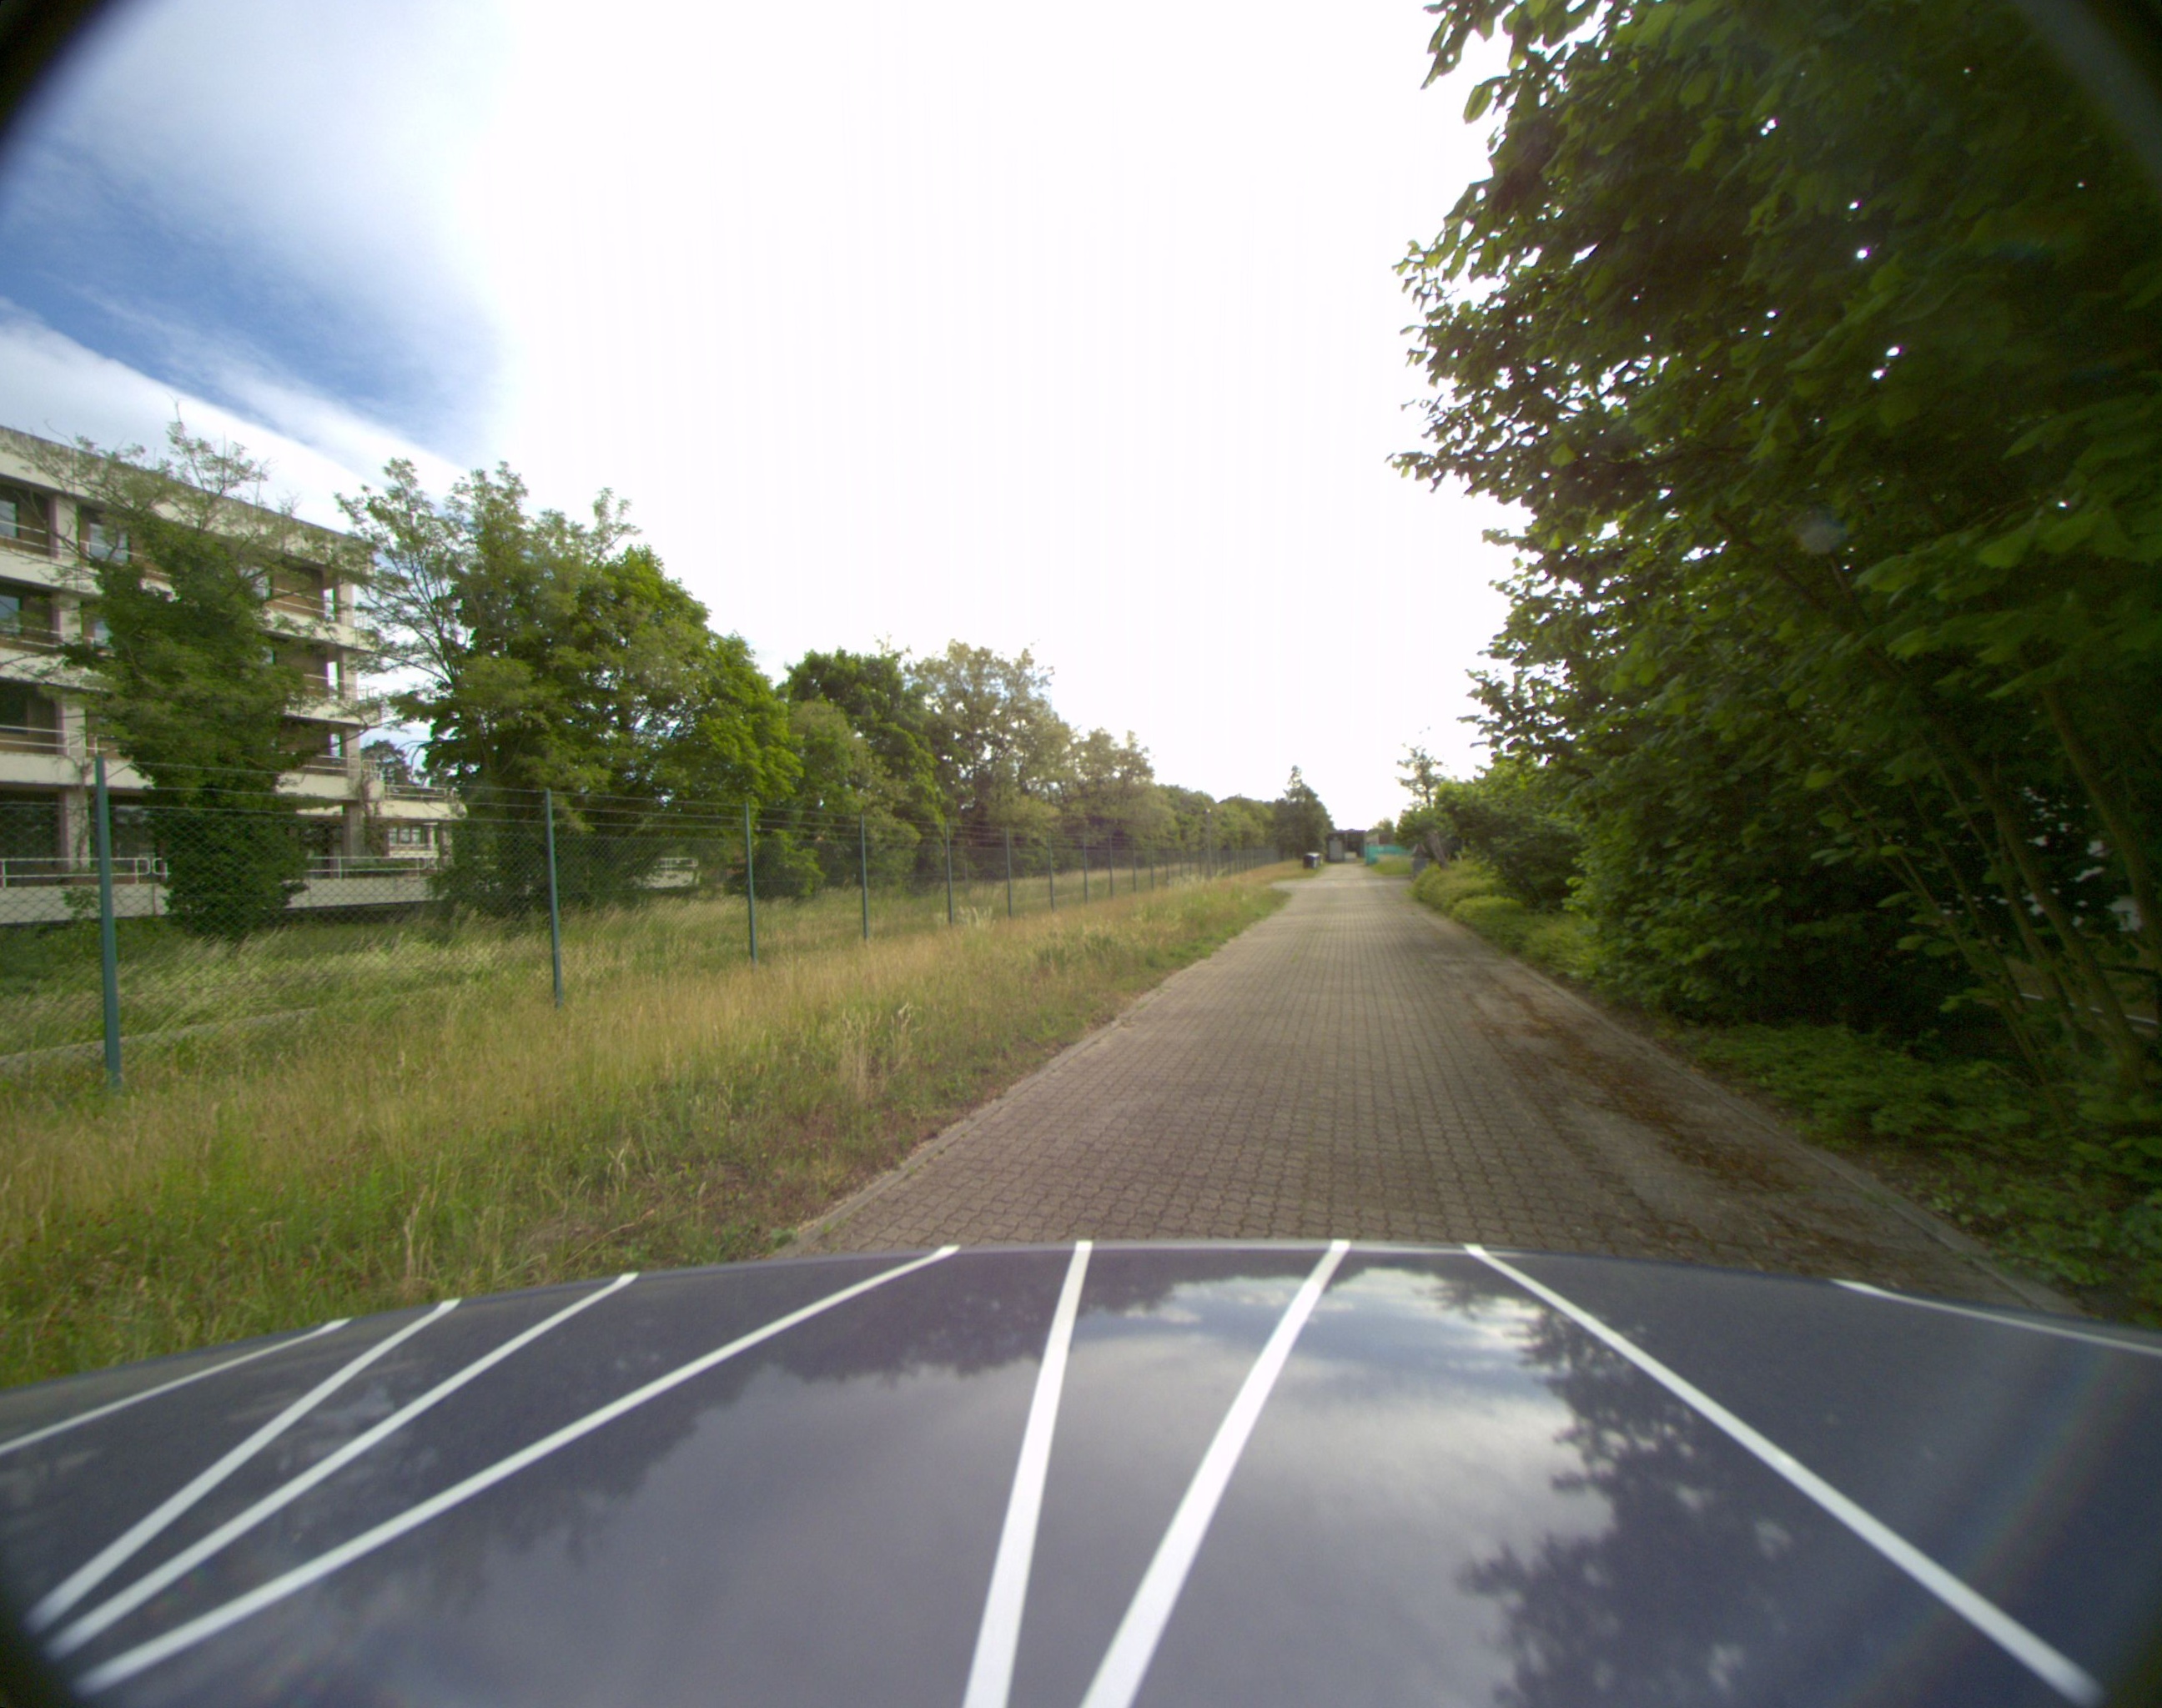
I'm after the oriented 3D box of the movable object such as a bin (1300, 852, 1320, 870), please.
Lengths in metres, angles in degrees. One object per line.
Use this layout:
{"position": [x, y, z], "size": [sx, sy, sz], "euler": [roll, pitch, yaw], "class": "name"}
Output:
{"position": [19.367, 0.600, 64.260], "size": [1.436, 1.489, 1.835], "euler": [-2, 0, 20], "class": "movable object such as a bin"}
